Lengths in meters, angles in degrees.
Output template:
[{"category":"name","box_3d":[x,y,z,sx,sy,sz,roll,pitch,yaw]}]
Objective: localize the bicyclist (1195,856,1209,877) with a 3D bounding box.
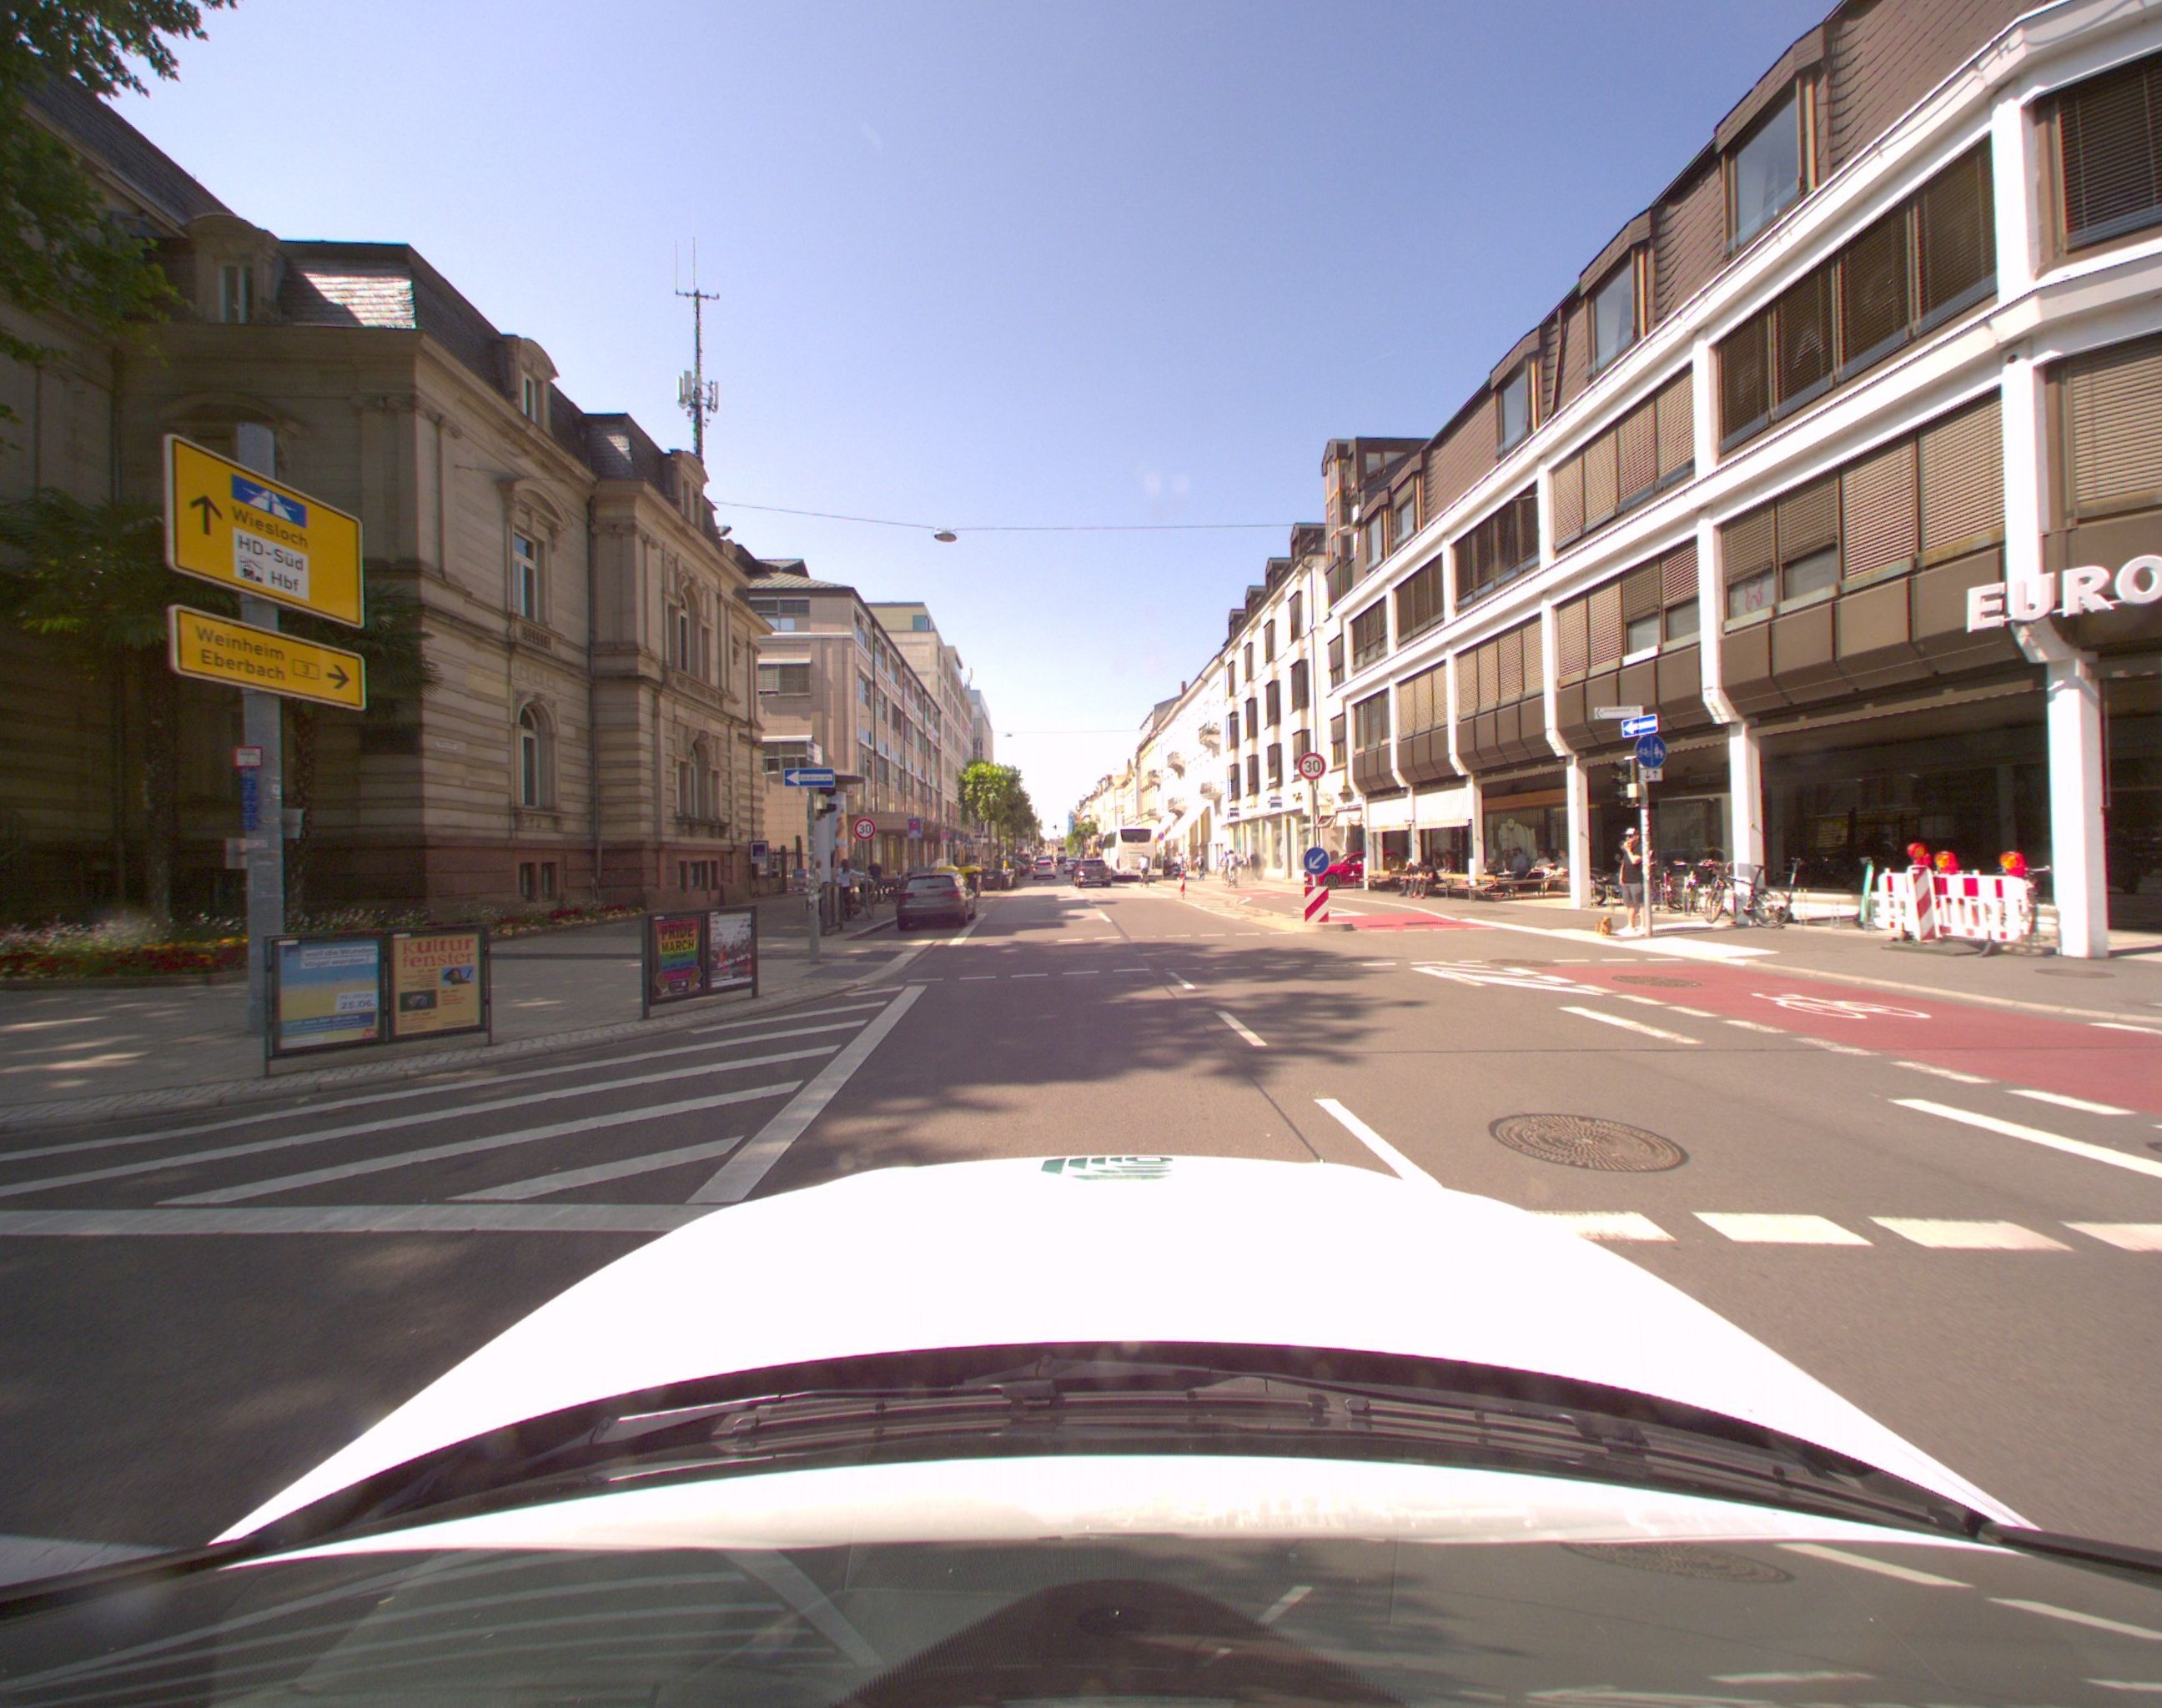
[{"category":"bicyclist","box_3d":[7.469,0.785,50.313,0.619,1.296,0.865,-1,-1,-4]}]

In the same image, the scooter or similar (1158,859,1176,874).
[{"category":"scooter or similar","box_3d":[6.263,0.910,59.438,1.119,1.102,1.084,-1,-1,-4]}]

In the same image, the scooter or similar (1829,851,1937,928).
[{"category":"scooter or similar","box_3d":[13.195,0.578,13.421,1.241,1.232,0.480,-1,-1,3]}]

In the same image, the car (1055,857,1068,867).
[{"category":"car","box_3d":[-2.962,1.258,125.321,1.859,1.441,3.995,-2,0,-3]}]

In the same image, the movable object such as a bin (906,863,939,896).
[{"category":"movable object such as a bin","box_3d":[-7.472,1.193,38.398,1.204,1.450,1.365,0,1,3]}]

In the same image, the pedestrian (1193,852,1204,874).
[{"category":"pedestrian","box_3d":[8.736,0.654,60.707,0.643,1.617,0.822,-1,-2,0]}]

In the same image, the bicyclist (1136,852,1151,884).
[{"category":"bicyclist","box_3d":[3.343,0.746,43.864,0.692,1.673,0.915,1,1,-2]}]

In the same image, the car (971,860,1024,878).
[{"category":"car","box_3d":[-7.516,1.352,73.017,4.696,1.533,2.003,0,0,40]}]

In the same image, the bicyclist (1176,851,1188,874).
[{"category":"bicyclist","box_3d":[6.115,0.533,49.318,0.619,1.370,0.779,-1,-1,-4]}]

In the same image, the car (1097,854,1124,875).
[{"category":"car","box_3d":[2.666,0.942,73.951,1.825,1.863,4.345,0,0,-6]}]

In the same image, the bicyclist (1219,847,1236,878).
[{"category":"bicyclist","box_3d":[7.494,0.432,41.656,0.619,1.529,0.868,-1,-1,-4]}]

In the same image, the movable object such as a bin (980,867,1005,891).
[{"category":"movable object such as a bin","box_3d":[-4.883,1.355,44.918,1.274,1.299,0.852,-1,-1,-3]}]

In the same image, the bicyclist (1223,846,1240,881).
[{"category":"bicyclist","box_3d":[7.207,0.462,39.084,0.690,1.625,0.837,-2,-1,7]}]

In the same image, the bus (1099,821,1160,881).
[{"category":"bus","box_3d":[3.244,-0.154,58.069,2.875,3.742,12.410,1,0,-3]}]

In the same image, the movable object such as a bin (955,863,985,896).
[{"category":"movable object such as a bin","box_3d":[-5.195,1.179,38.179,1.119,1.450,1.440,0,1,3]}]

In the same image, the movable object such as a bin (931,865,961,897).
[{"category":"movable object such as a bin","box_3d":[-6.318,1.254,38.224,1.119,1.450,1.440,0,1,3]}]

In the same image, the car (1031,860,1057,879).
[{"category":"car","box_3d":[-2.998,1.245,64.652,1.860,1.441,3.991,0,-3,-6]}]

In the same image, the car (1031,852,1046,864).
[{"category":"car","box_3d":[-5.322,0.473,102.256,1.739,1.441,3.996,-2,0,-3]}]

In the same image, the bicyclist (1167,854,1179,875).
[{"category":"bicyclist","box_3d":[6.093,0.708,53.896,0.619,1.370,0.779,-1,-1,-4]}]

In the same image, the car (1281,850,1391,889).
[{"category":"car","box_3d":[10.744,0.679,34.498,4.033,1.495,1.840,-2,-3,-2]}]

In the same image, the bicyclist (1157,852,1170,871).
[{"category":"bicyclist","box_3d":[6.153,0.577,60.845,0.786,1.379,0.721,-1,-1,-5]}]

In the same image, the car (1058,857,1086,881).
[{"category":"car","box_3d":[-0.660,1.095,58.092,1.828,1.527,3.997,-3,-2,-1]}]

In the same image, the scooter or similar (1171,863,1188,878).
[{"category":"scooter or similar","box_3d":[6.272,1.058,51.874,0.864,0.957,1.211,-1,-1,-4]}]

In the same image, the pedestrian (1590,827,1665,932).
[{"category":"pedestrian","box_3d":[9.862,0.463,14.733,0.828,1.836,0.698,-2,-2,6]}]

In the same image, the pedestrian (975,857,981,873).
[{"category":"pedestrian","box_3d":[-10.435,1.128,82.424,0.566,1.657,0.634,-1,-1,-10]}]

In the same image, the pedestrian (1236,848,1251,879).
[{"category":"pedestrian","box_3d":[9.166,0.523,45.884,0.691,1.685,0.837,-2,-1,6]}]

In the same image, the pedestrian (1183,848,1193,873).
[{"category":"pedestrian","box_3d":[7.901,0.509,59.987,0.571,1.778,1.020,-2,-2,0]}]

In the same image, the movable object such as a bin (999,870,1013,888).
[{"category":"movable object such as a bin","box_3d":[-4.279,1.425,46.481,0.557,0.939,0.496,-3,0,-29]}]

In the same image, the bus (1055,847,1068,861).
[{"category":"bus","box_3d":[-5.375,-0.104,217.870,2.766,3.605,8.956,-2,0,-5]}]

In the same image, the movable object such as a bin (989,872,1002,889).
[{"category":"movable object such as a bin","box_3d":[-4.841,1.495,46.204,0.495,0.939,0.557,-3,0,14]}]

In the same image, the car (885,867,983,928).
[{"category":"car","box_3d":[-3.869,1.103,22.116,1.931,1.354,4.247,-2,0,-1]}]

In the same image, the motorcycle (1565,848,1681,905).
[{"category":"motorcycle","box_3d":[13.205,0.556,19.935,2.215,1.290,0.954,-2,-2,25]}]

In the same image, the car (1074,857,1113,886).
[{"category":"car","box_3d":[0.641,0.942,44.416,1.829,1.527,3.995,0,-1,-3]}]

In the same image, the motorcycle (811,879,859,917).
[{"category":"motorcycle","box_3d":[-6.958,1.227,23.104,0.451,0.998,2.165,0,-1,7]}]

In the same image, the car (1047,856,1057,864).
[{"category":"car","box_3d":[-5.821,1.156,164.282,1.859,1.441,3.995,-3,-2,-3]}]

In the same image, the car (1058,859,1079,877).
[{"category":"car","box_3d":[-1.209,1.319,76.798,1.829,1.527,3.995,-3,-2,-3]}]

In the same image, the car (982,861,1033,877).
[{"category":"car","box_3d":[-6.882,1.395,76.030,4.735,1.422,1.895,0,0,37]}]

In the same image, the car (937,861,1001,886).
[{"category":"car","box_3d":[-7.385,1.240,53.436,4.006,1.494,1.948,0,0,38]}]
